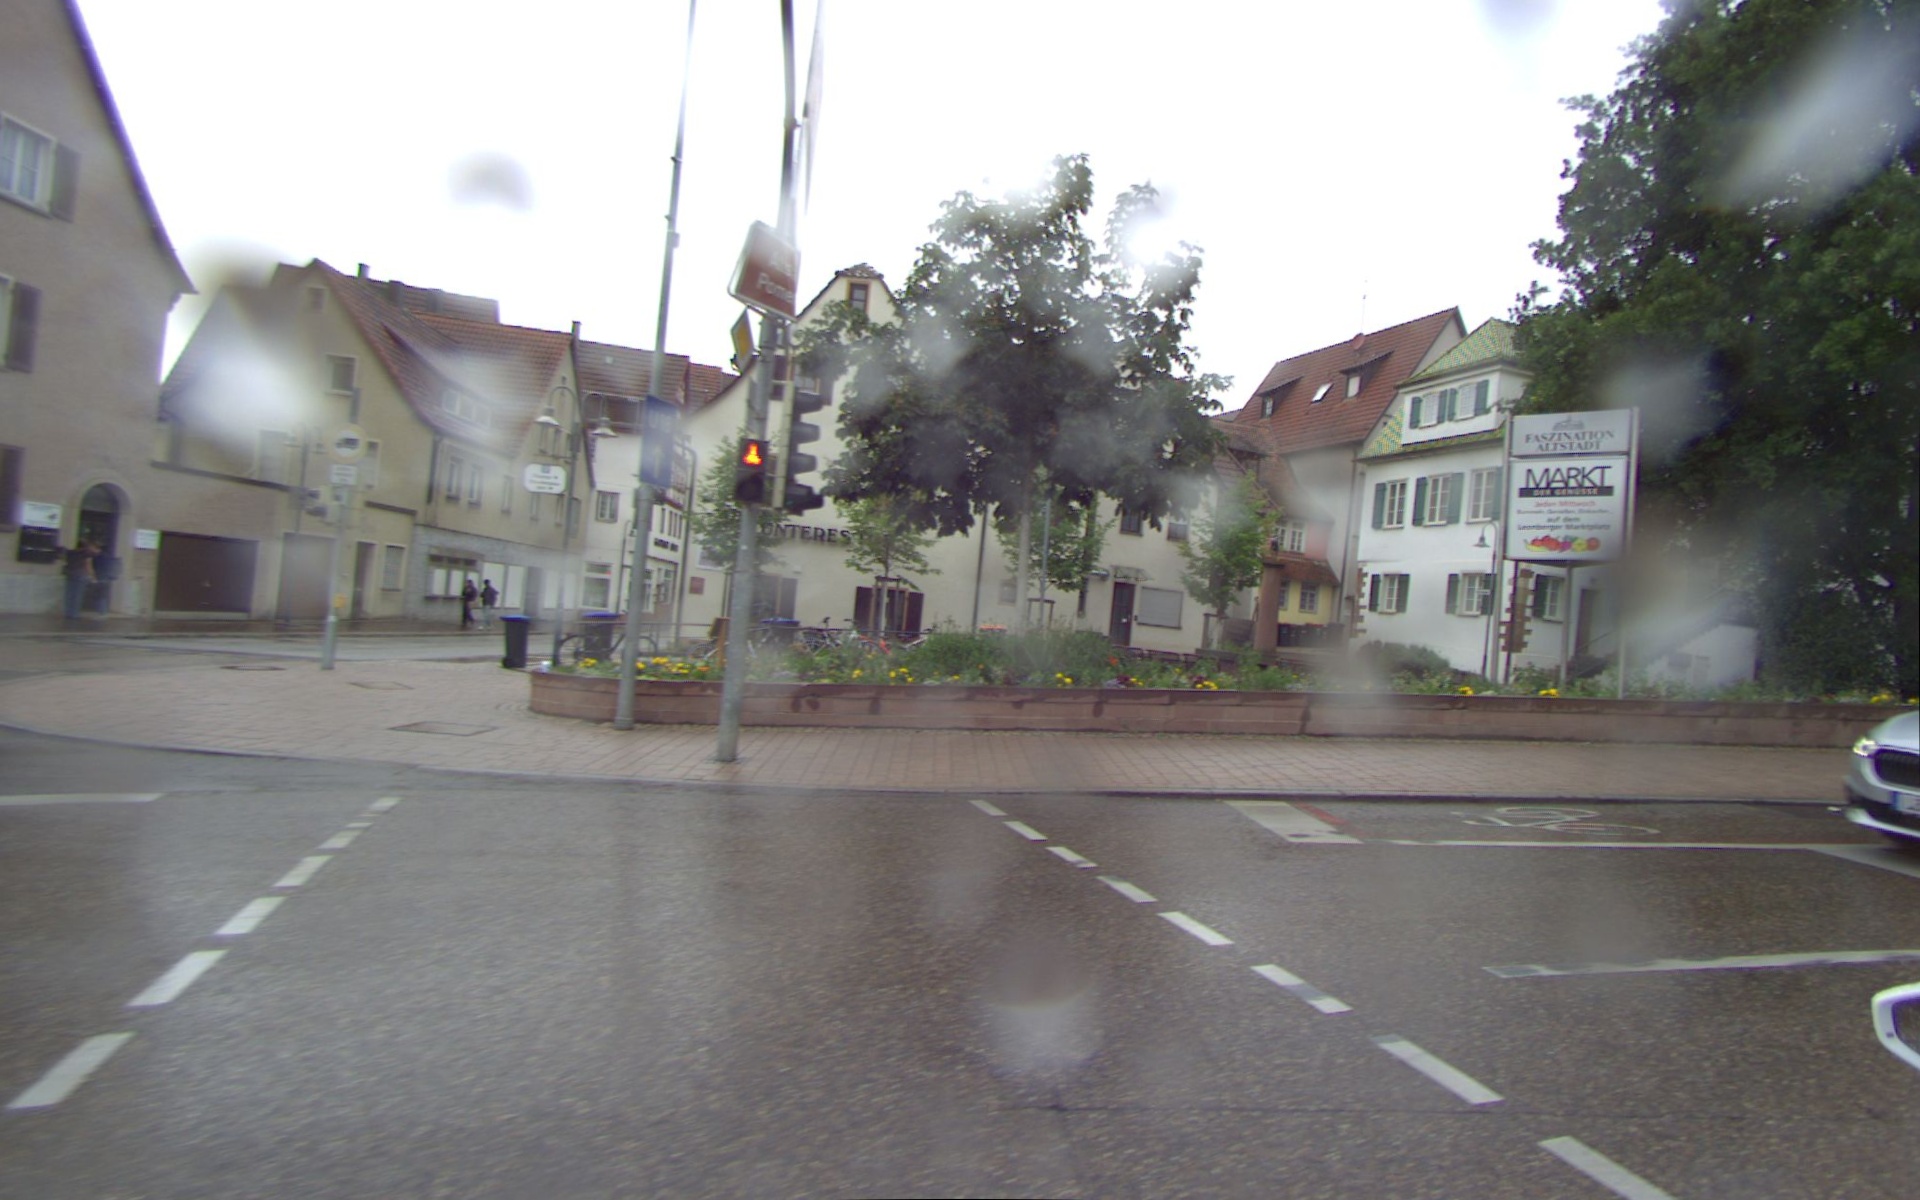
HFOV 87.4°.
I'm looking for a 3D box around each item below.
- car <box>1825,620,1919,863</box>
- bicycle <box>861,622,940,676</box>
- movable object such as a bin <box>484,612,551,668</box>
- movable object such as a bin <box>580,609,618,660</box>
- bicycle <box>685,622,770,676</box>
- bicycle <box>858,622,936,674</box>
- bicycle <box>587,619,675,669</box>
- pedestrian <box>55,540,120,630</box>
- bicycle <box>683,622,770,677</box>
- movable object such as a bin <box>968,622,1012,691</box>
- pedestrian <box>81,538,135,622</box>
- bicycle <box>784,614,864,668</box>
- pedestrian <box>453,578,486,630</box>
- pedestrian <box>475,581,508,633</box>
[{"bbox_3d":[7.662,0.874,6.017,3.799,1.446,1.665,1,0,-8],"label":"car"},{"bbox_3d":[-1.170,0.966,19.829,1.447,0.924,0.391,4,3,-18],"label":"bicycle"},{"bbox_3d":[-7.968,0.718,18.093,0.714,0.938,0.785,2,-3,37],"label":"movable object such as a bin"},{"bbox_3d":[-6.979,0.669,19.436,0.579,0.913,0.582,5,1,-16],"label":"movable object such as a bin"},{"bbox_3d":[-4.387,0.924,18.959,1.453,0.924,0.389,4,4,-30],"label":"bicycle"},{"bbox_3d":[-1.265,0.963,20.257,1.447,0.924,0.391,4,3,-18],"label":"bicycle"},{"bbox_3d":[-5.924,0.803,18.117,1.425,0.829,0.334,3,4,-39],"label":"bicycle"},{"bbox_3d":[-18.455,-0.319,21.260,0.785,1.855,0.712,1,2,-15],"label":"pedestrian"},{"bbox_3d":[-4.299,0.924,18.502,1.453,0.924,0.389,4,4,-30],"label":"bicycle"},{"bbox_3d":[0.620,1.148,20.630,0.671,1.293,0.749,6,2,9],"label":"movable object such as a bin"},{"bbox_3d":[-18.552,-0.434,21.877,0.544,1.751,0.538,5,-1,9],"label":"pedestrian"},{"bbox_3d":[-2.656,0.805,19.671,1.447,0.924,0.391,4,3,-18],"label":"bicycle"},{"bbox_3d":[-17.110,0.125,35.039,0.766,1.755,0.631,3,1,3],"label":"pedestrian"},{"bbox_3d":[-16.310,0.225,34.996,0.766,1.755,0.631,3,1,3],"label":"pedestrian"}]
